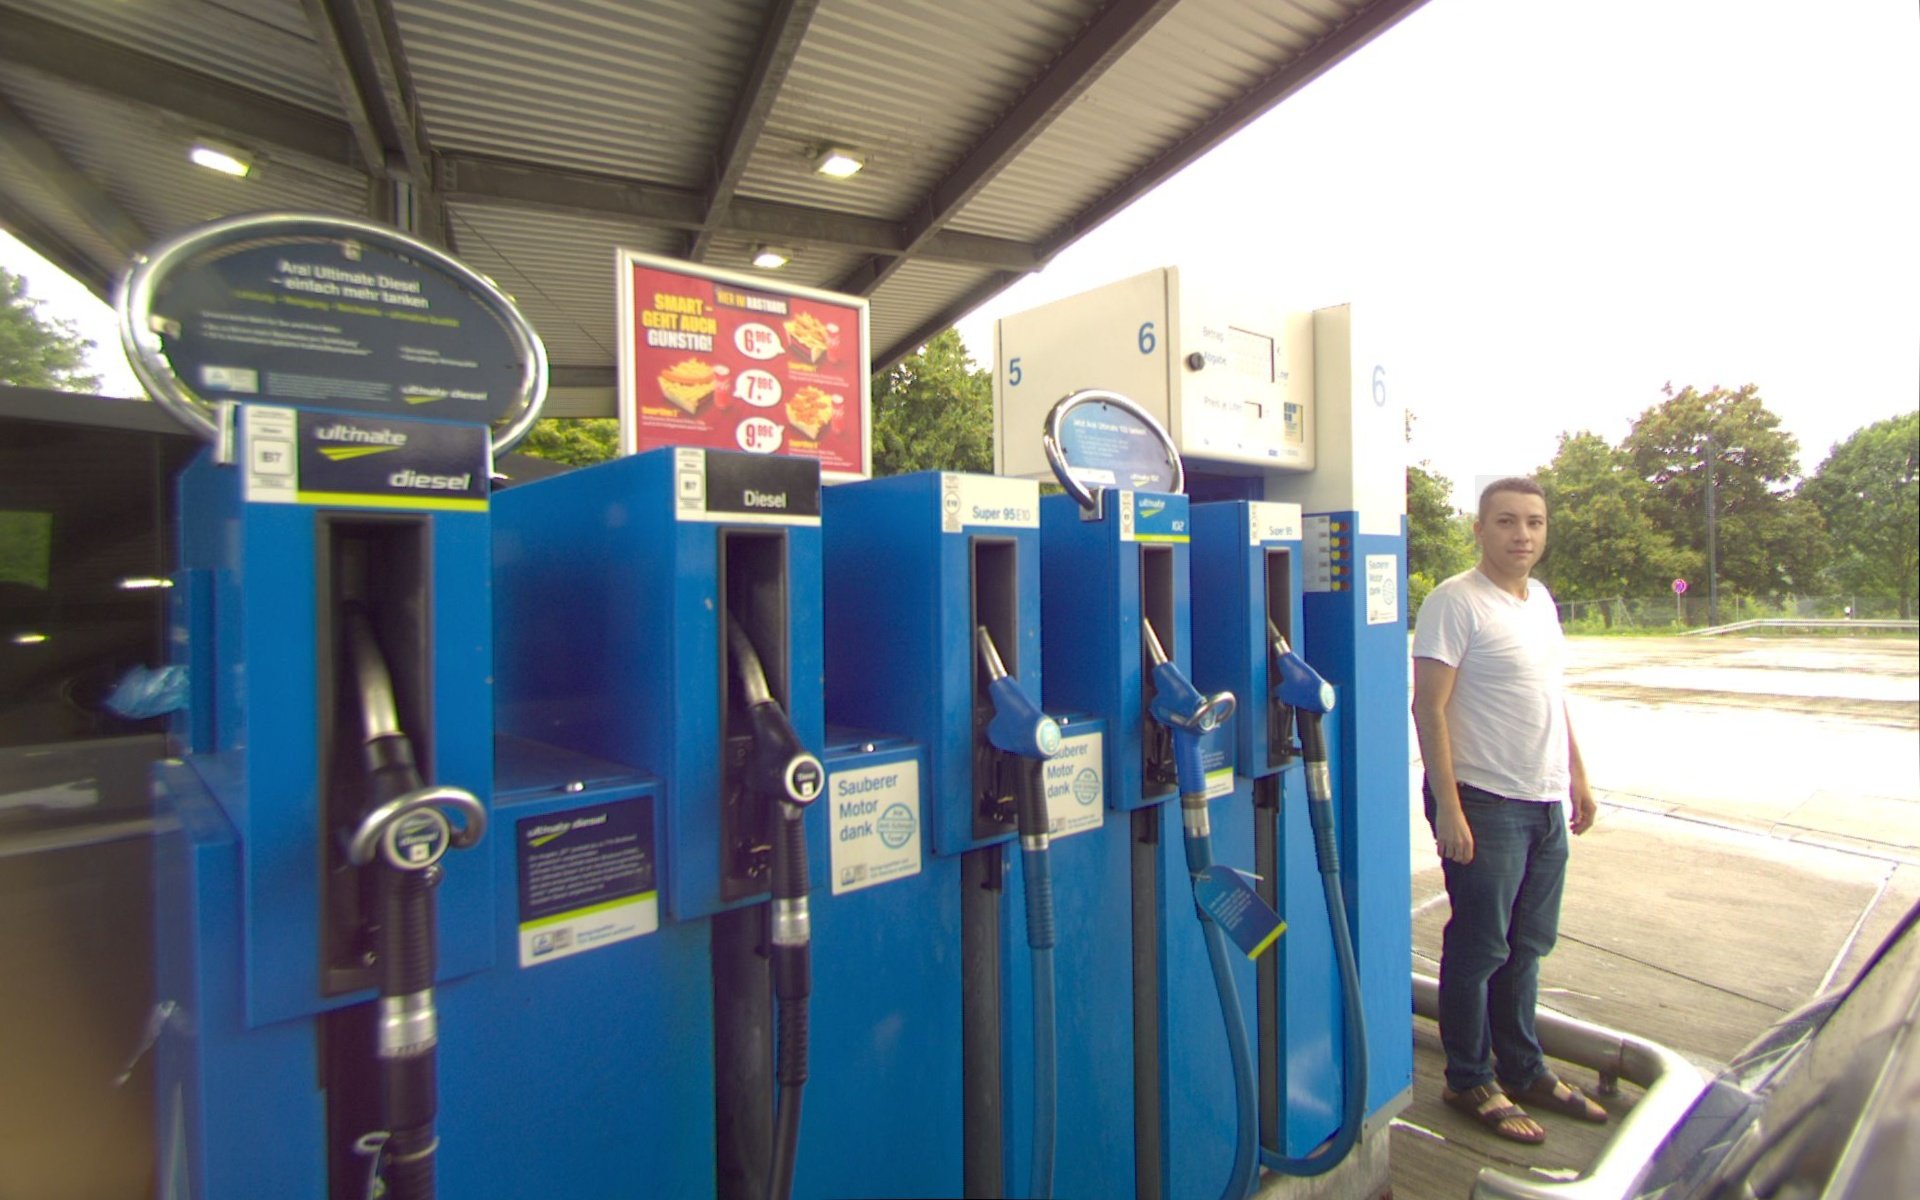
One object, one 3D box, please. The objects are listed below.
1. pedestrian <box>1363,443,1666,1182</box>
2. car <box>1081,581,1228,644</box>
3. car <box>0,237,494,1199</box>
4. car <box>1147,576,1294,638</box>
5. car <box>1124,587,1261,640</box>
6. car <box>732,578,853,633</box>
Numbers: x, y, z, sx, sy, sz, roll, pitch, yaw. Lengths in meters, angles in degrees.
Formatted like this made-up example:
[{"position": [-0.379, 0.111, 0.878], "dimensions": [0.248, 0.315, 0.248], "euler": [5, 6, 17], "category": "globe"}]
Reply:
[{"position": [1.570, 0.518, 2.876], "dimensions": [0.621, 1.832, 0.495], "euler": [-2, 1, -31], "category": "pedestrian"}, {"position": [5.804, 0.338, 30.010], "dimensions": [4.123, 1.752, 1.990], "euler": [0, 0, 17], "category": "car"}, {"position": [-3.029, 0.405, 1.476], "dimensions": [3.930, 1.973, 1.819], "euler": [0, 0, -41], "category": "car"}, {"position": [8.780, 0.208, 34.366], "dimensions": [4.700, 2.011, 2.007], "euler": [0, 0, 14], "category": "car"}, {"position": [7.393, 0.407, 32.144], "dimensions": [4.123, 1.576, 1.990], "euler": [0, 0, 17], "category": "car"}, {"position": [-5.596, 0.154, 33.502], "dimensions": [1.967, 1.683, 4.170], "euler": [0, 0, -44], "category": "car"}]
